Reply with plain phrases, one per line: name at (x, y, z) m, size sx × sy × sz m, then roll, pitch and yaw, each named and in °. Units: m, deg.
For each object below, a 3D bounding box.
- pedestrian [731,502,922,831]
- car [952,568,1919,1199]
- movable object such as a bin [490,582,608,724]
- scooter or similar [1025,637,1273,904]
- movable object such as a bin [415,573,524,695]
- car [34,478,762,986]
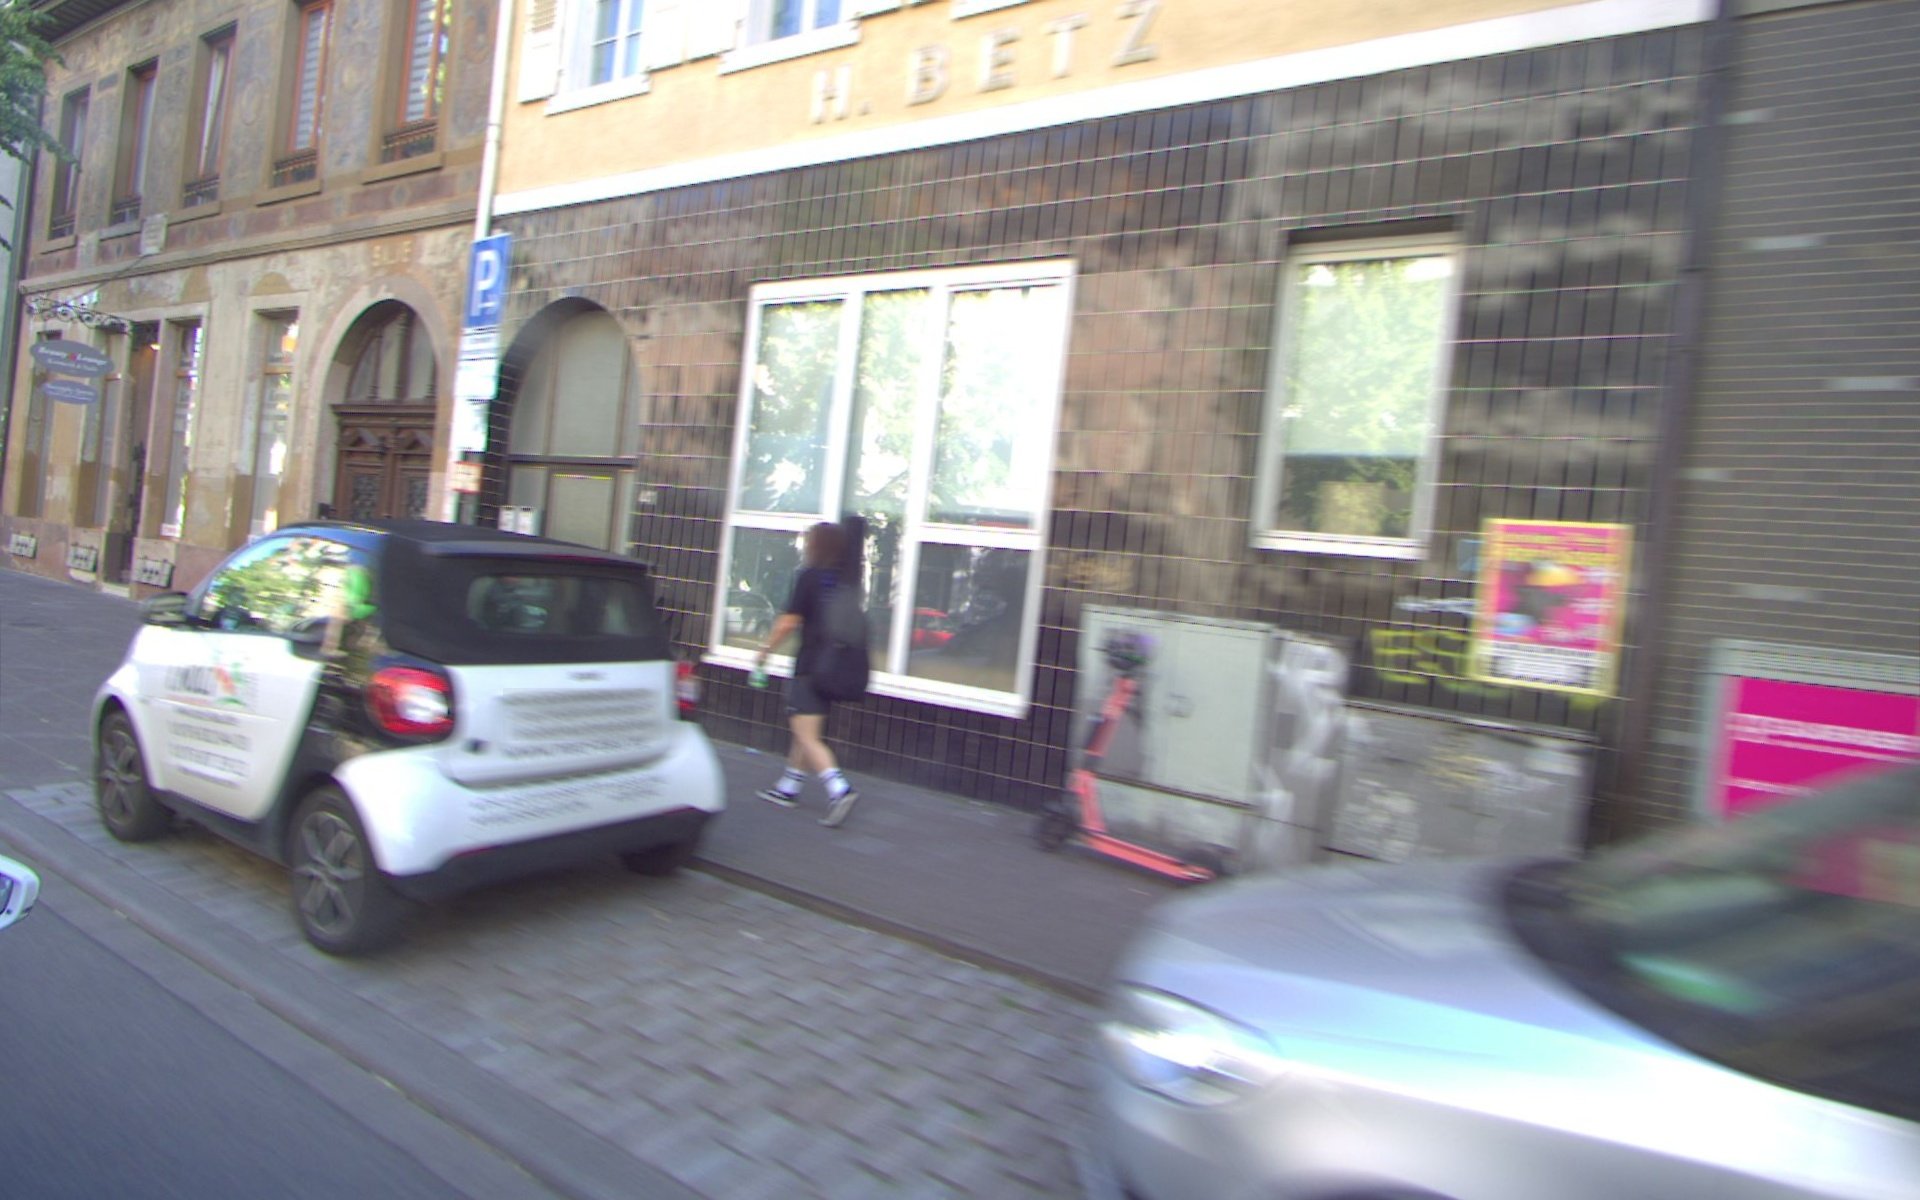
pedestrian at (-0.794, 0.363, 5.993) m, size 0.758 × 1.789 × 0.623 m, roll 7°, pitch 3°, yaw 32°
car at (2.209, 0.931, 1.620) m, size 4.163 × 1.550 × 1.614 m, roll 7°, pitch 3°, yaw 31°
movable object such as a bin at (-3.376, 0.422, 8.264) m, size 0.710 × 1.054 × 0.522 m, roll 7°, pitch 3°, yaw 32°
scooter or similar at (1.007, 0.866, 5.459) m, size 1.149 × 1.203 × 0.399 m, roll 7°, pitch 3°, yaw 33°
movable object such as a bin at (-4.640, 0.312, 9.525) m, size 0.710 × 1.054 × 0.588 m, roll 7°, pitch 3°, yaw 32°
car at (-2.669, 0.373, 4.718) m, size 3.009 × 1.549 × 1.615 m, roll 7°, pitch 2°, yaw 31°
